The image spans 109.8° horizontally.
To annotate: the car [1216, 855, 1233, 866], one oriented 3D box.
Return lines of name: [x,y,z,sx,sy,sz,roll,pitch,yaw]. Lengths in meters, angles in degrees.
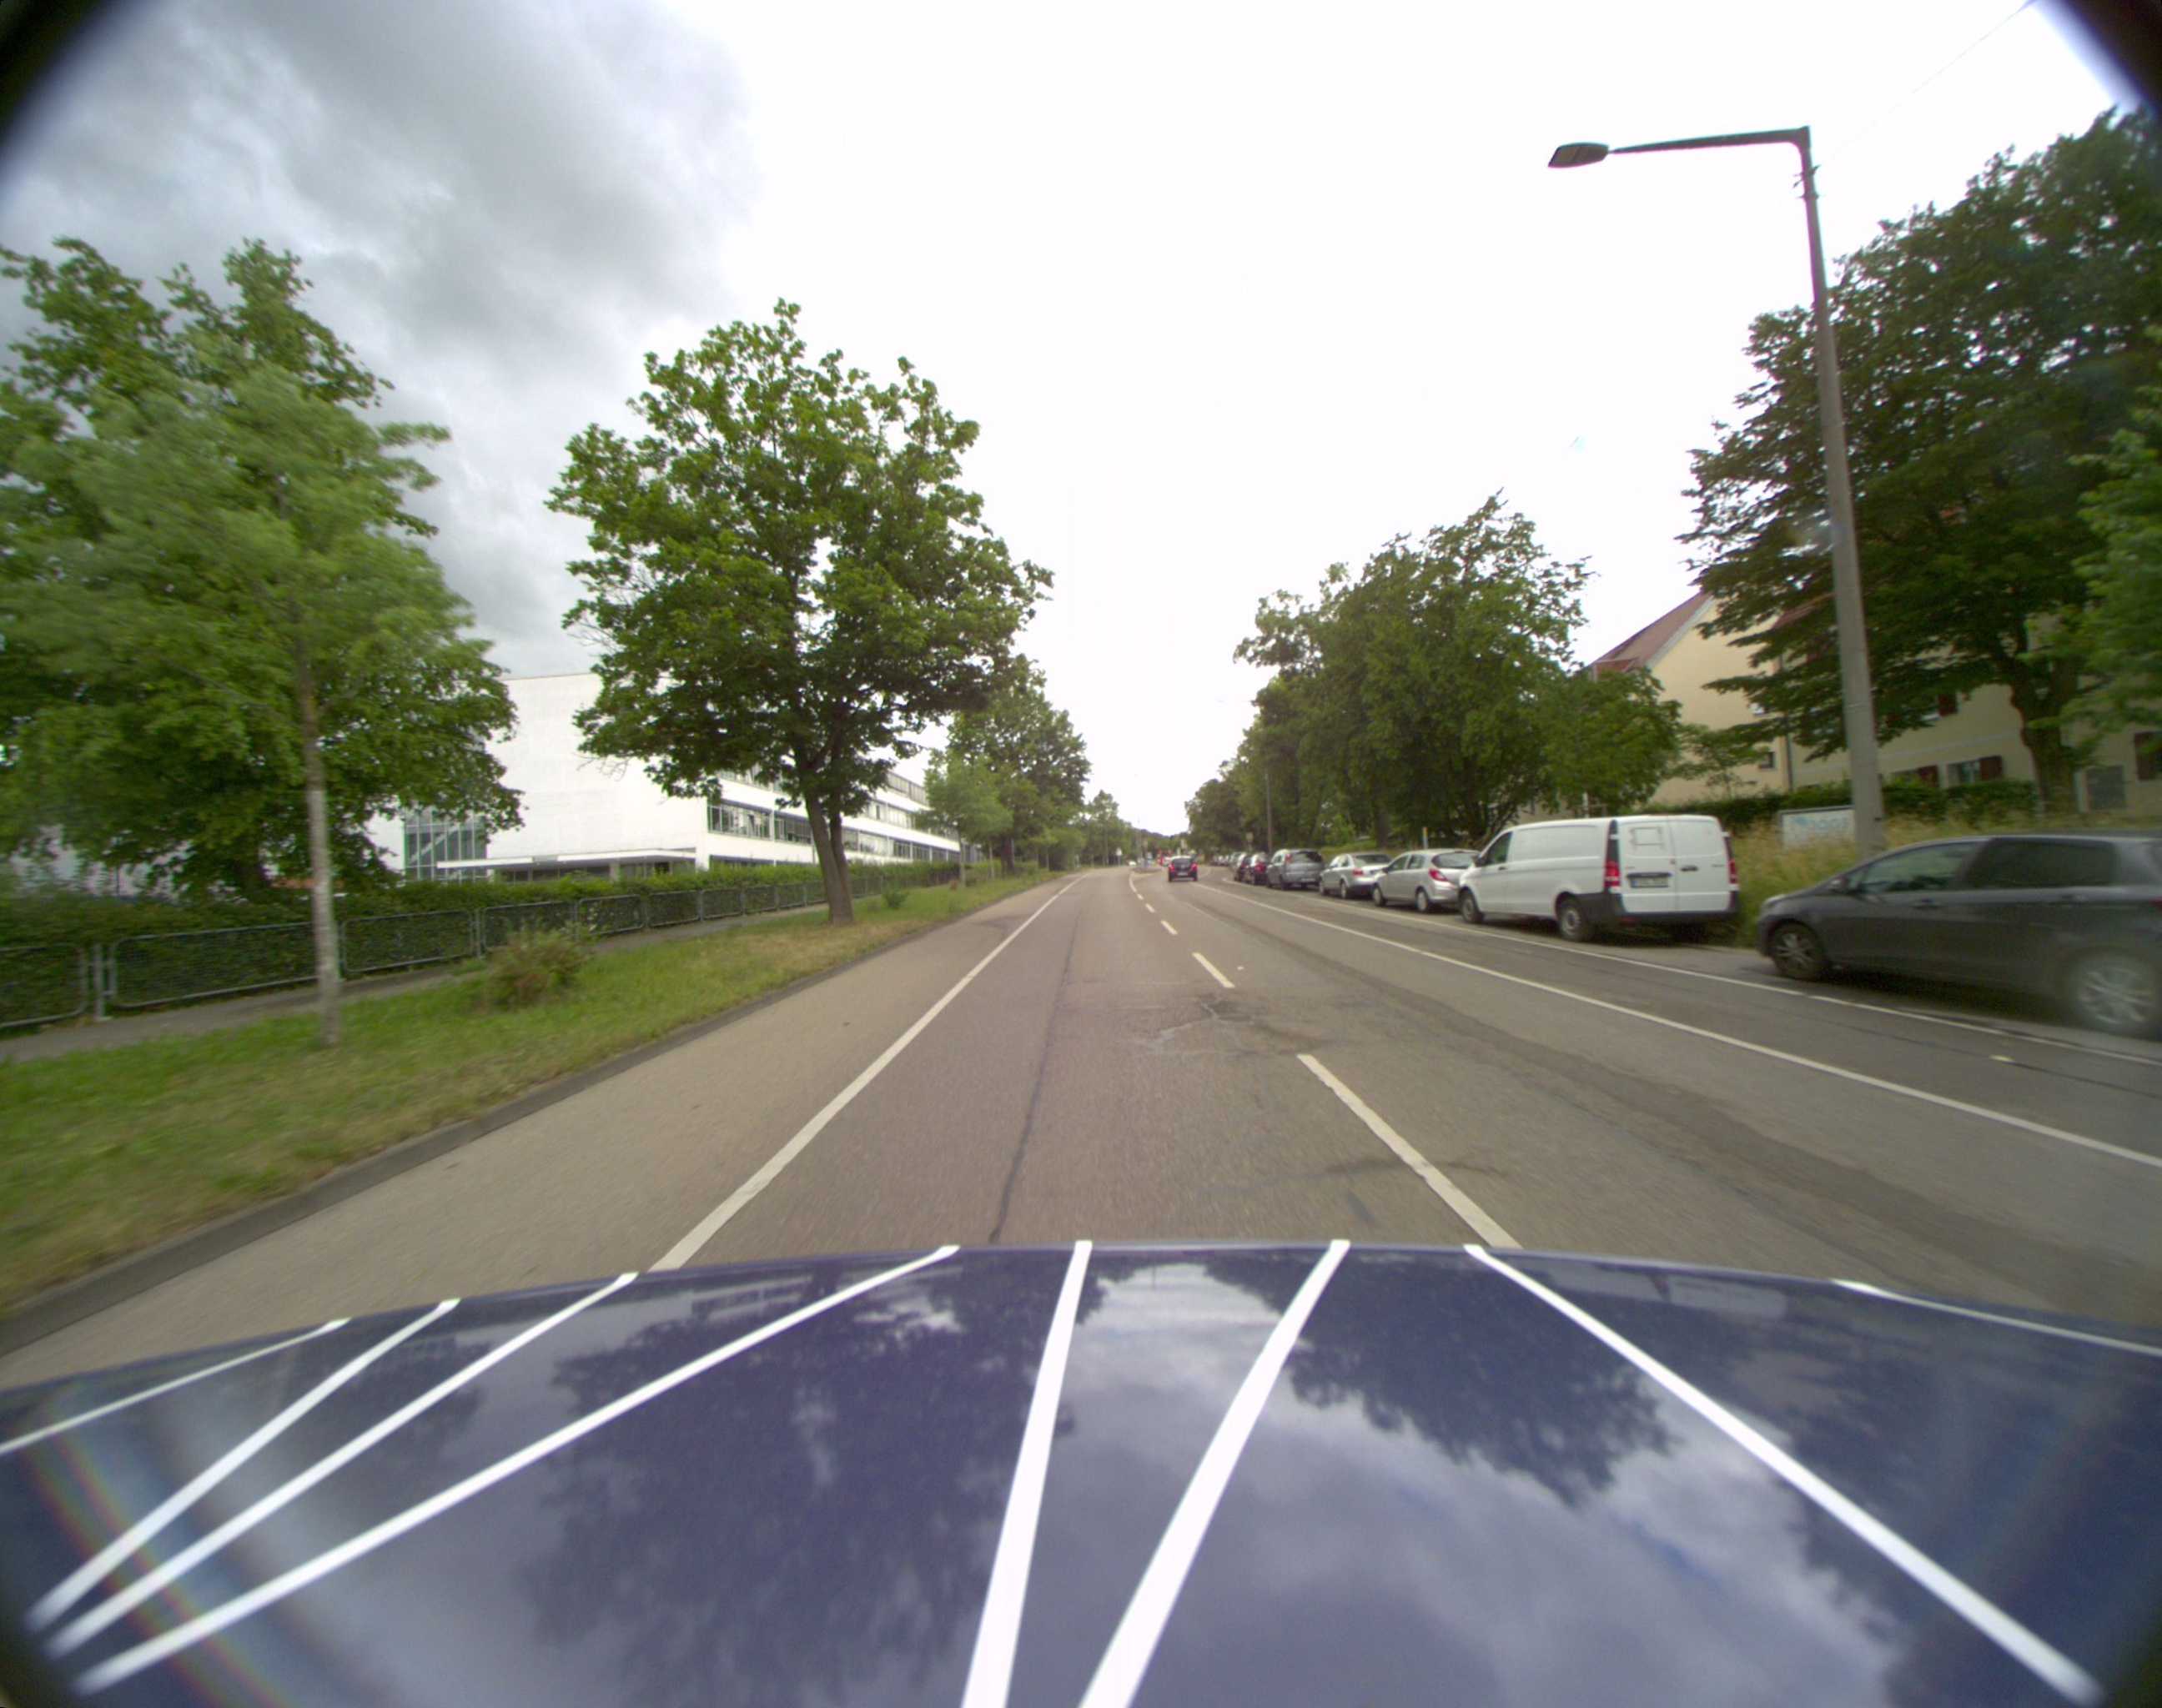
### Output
car: [20.715,0.897,109.744,1.879,1.498,4.058,-3,0,3]

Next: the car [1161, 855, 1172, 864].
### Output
car: [18.072,1.257,160.987,1.832,1.759,4.408,-3,-1,3]

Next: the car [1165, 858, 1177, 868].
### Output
car: [15.923,1.580,134.514,1.879,1.561,4.340,-3,1,6]

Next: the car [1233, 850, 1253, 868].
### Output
car: [16.884,0.502,79.467,1.878,1.657,4.393,-3,1,11]

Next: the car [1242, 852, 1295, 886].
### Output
car: [8.798,0.681,35.983,1.772,1.439,4.151,-2,0,5]

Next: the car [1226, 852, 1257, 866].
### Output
car: [19.058,0.639,90.379,1.882,1.498,3.995,-2,-1,-15]

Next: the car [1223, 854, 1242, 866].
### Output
car: [20.605,0.815,103.669,1.879,1.498,4.001,-3,0,3]

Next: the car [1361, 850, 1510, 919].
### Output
car: [8.534,0.695,18.709,1.639,1.425,3.950,-3,0,-2]

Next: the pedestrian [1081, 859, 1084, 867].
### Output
pedestrian: [0.326,2.047,172.265,0.734,1.717,0.502,-1,1,0]

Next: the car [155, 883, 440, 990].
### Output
car: [-18.998,1.895,18.824,4.584,2.022,2.066,-3,0,-38]

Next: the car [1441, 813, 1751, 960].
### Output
car: [8.298,0.466,13.016,1.772,1.919,5.155,-3,0,1]

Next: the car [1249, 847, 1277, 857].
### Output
car: [37.822,-0.499,157.773,5.296,2.002,2.012,-1,1,3]

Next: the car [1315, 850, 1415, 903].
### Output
car: [8.873,0.671,24.121,1.772,1.486,4.358,-1,0,4]

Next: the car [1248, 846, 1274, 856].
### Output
car: [39.299,-0.656,165.603,5.296,2.002,1.740,-1,1,4]

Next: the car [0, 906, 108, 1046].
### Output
car: [-16.958,1.824,10.169,4.361,1.833,1.919,-3,0,-28]

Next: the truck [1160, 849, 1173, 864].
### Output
truck: [21.653,0.646,191.903,2.830,3.460,7.828,-2,0,8]

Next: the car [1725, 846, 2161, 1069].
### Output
car: [8.167,0.685,6.706,1.677,1.479,4.045,-1,0,3]

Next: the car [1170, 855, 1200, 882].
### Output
car: [6.217,0.824,45.155,1.640,1.458,4.002,-1,0,8]

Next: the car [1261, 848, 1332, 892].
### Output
car: [8.626,0.625,30.768,1.772,1.582,4.135,-2,0,1]

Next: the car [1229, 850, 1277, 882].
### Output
car: [9.154,0.595,40.767,1.879,1.561,4.652,-3,0,5]
